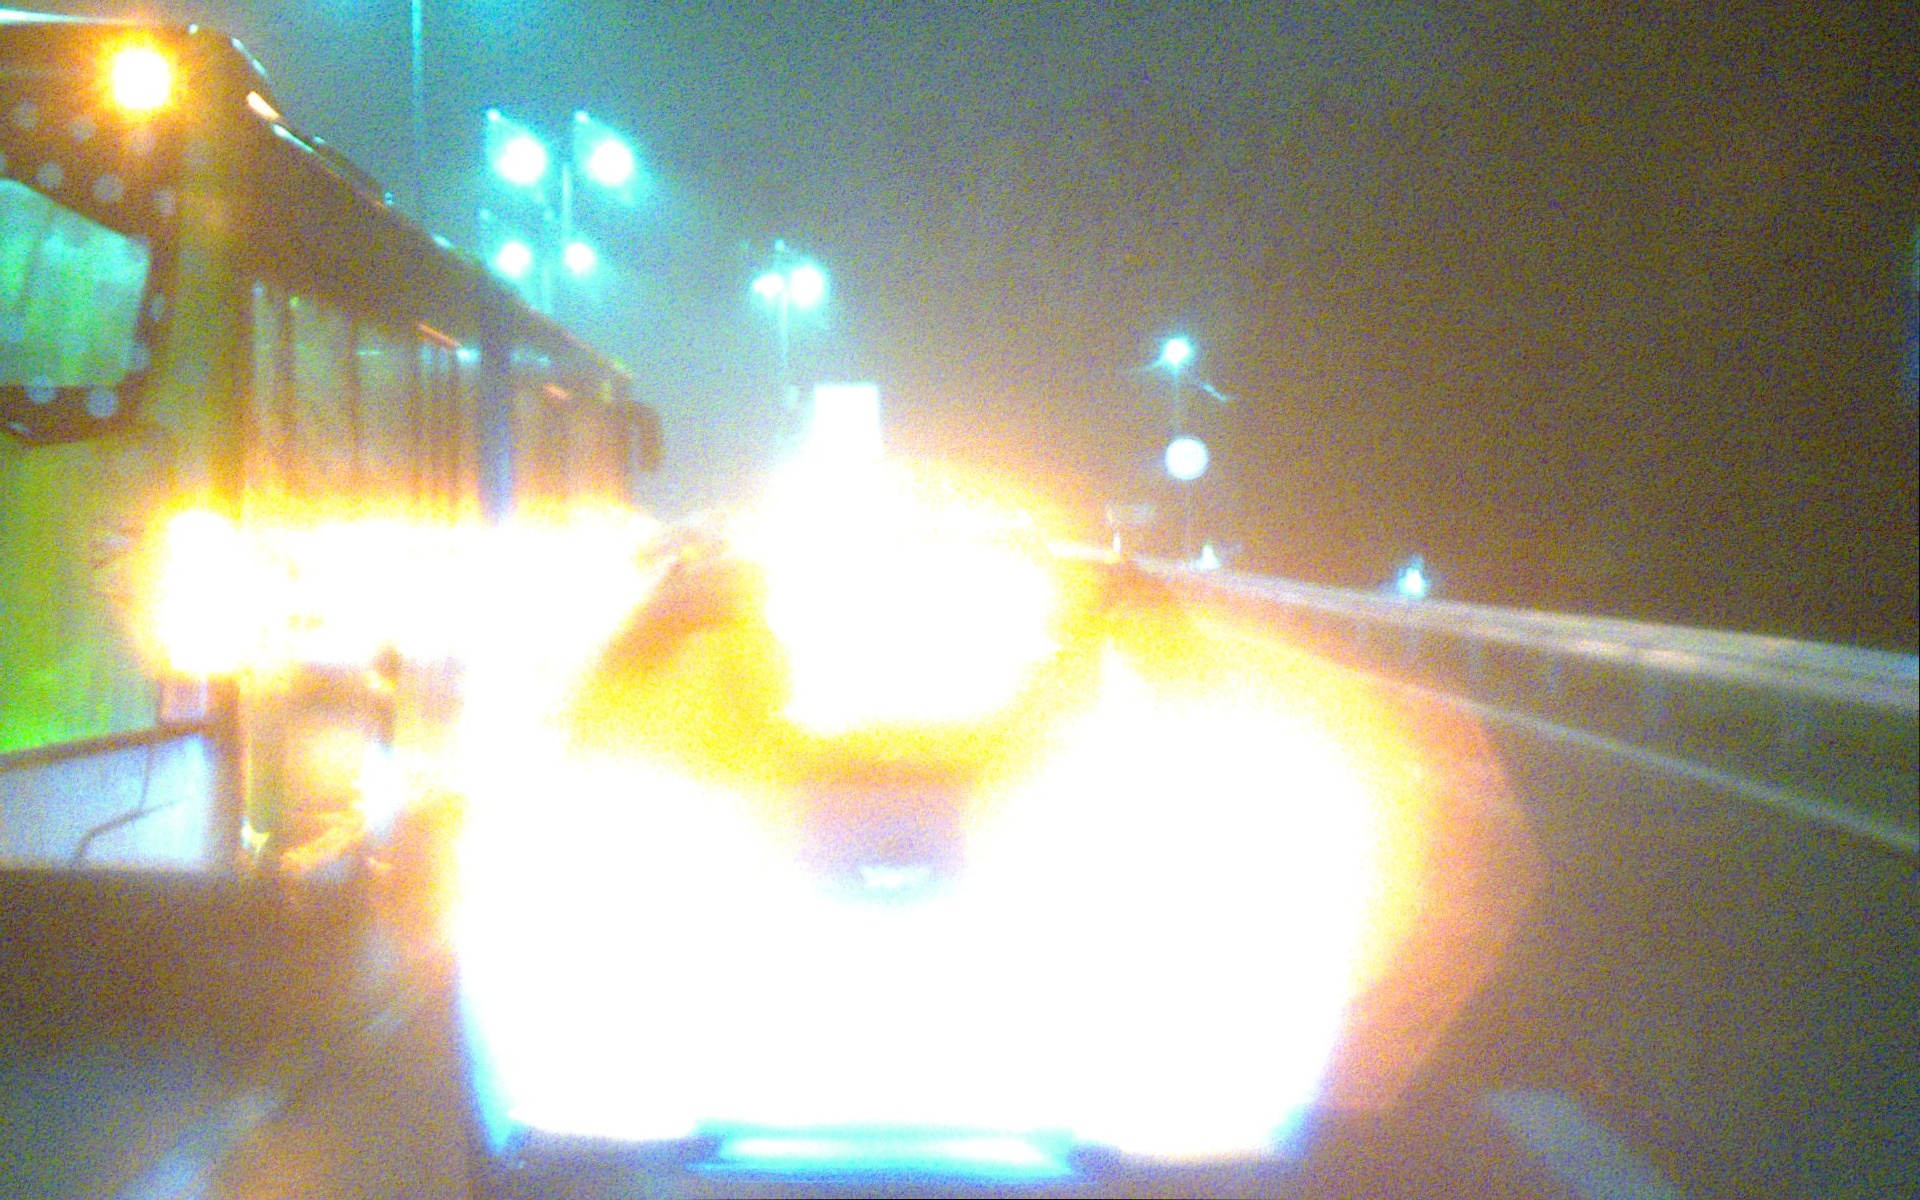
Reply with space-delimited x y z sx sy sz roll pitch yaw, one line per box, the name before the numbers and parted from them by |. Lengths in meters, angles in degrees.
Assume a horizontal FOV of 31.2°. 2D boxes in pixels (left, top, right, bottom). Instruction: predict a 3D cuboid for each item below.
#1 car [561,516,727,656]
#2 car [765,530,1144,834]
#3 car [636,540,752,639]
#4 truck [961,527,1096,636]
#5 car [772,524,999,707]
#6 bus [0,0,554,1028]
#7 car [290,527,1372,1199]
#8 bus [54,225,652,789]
car | -3.576 -0.151 39.422 1.557 1.481 3.809 2 0 -1
car | -0.049 0.372 18.540 1.822 1.456 3.716 1 1 -1
car | -4.201 -0.162 54.763 1.557 1.481 3.809 2 0 -1
truck | 1.769 -0.444 85.920 3.070 2.520 7.165 2 0 3
car | -0.625 0.102 29.589 1.822 1.456 3.716 1 1 -1
bus | -3.593 -0.429 14.853 2.743 3.112 9.202 2 1 -2
car | -0.197 0.596 8.067 1.944 1.486 3.716 1 1 1
bus | -3.831 -0.631 23.840 2.743 3.112 8.704 2 1 -2
